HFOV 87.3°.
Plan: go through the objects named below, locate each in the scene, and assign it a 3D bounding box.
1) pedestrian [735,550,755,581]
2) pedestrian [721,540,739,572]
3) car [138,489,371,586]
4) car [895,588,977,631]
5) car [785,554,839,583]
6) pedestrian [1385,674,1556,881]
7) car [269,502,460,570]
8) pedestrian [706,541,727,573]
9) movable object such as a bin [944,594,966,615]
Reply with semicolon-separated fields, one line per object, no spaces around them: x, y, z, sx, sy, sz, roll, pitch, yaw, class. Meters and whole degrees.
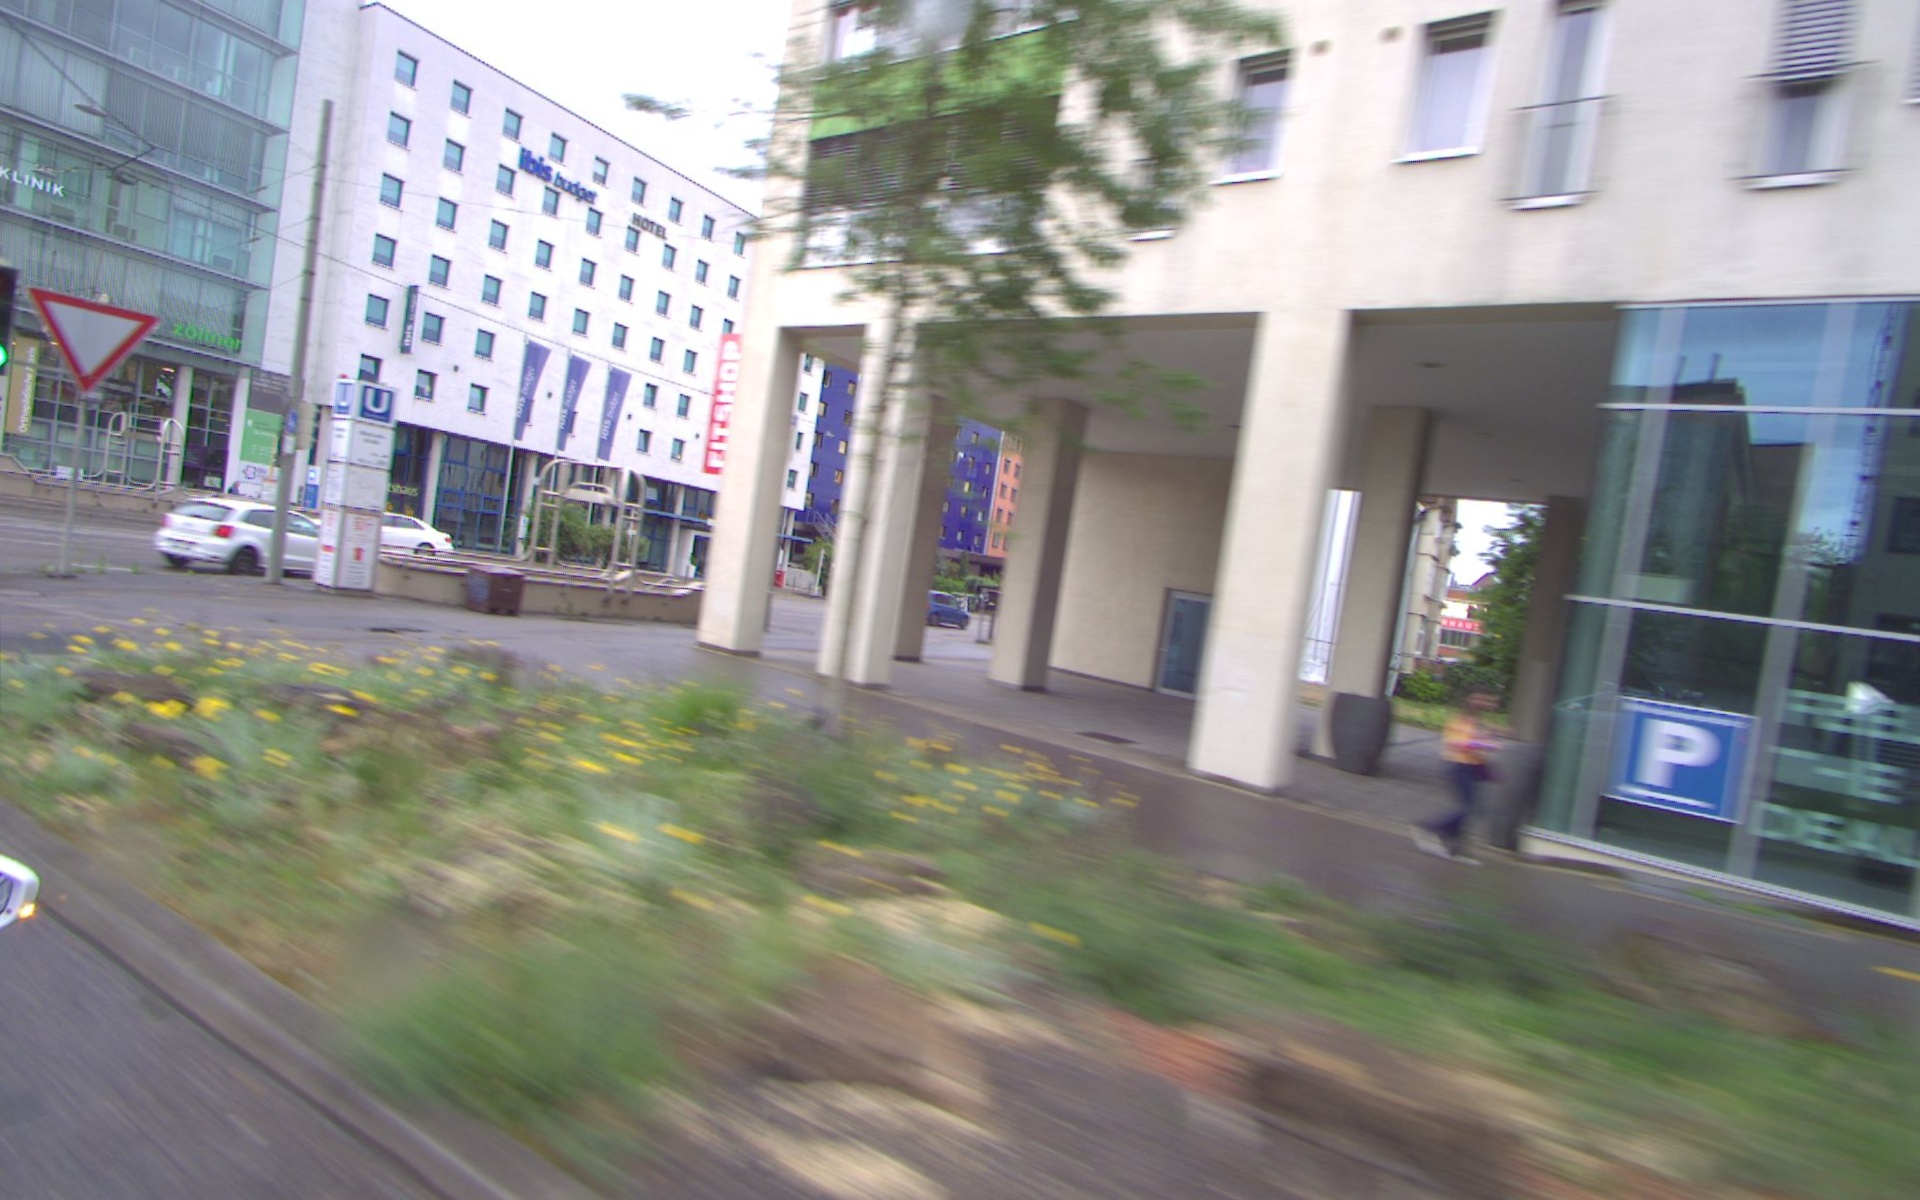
-15.051;-2.433;70.362;0.891;2.037;0.809;8;-1;-29;pedestrian
-15.847;-3.000;69.343;0.800;2.037;0.805;8;-1;4;pedestrian
-14.363;-1.207;20.762;1.645;1.492;3.779;10;1;8;car
-1.136;0.482;49.377;1.967;1.593;3.991;10;1;33;car
-13.684;-2.907;92.753;4.650;2.037;1.890;7;-1;32;car
4.983;1.693;9.831;1.073;1.733;0.871;9;1;43;pedestrian
-19.012;-2.017;32.392;1.792;1.404;4.953;9;1;31;car
-16.499;-2.922;68.041;0.792;2.037;0.814;7;-1;33;pedestrian
-0.405;0.389;83.940;1.376;1.508;0.947;7;-1;43;movable object such as a bin
